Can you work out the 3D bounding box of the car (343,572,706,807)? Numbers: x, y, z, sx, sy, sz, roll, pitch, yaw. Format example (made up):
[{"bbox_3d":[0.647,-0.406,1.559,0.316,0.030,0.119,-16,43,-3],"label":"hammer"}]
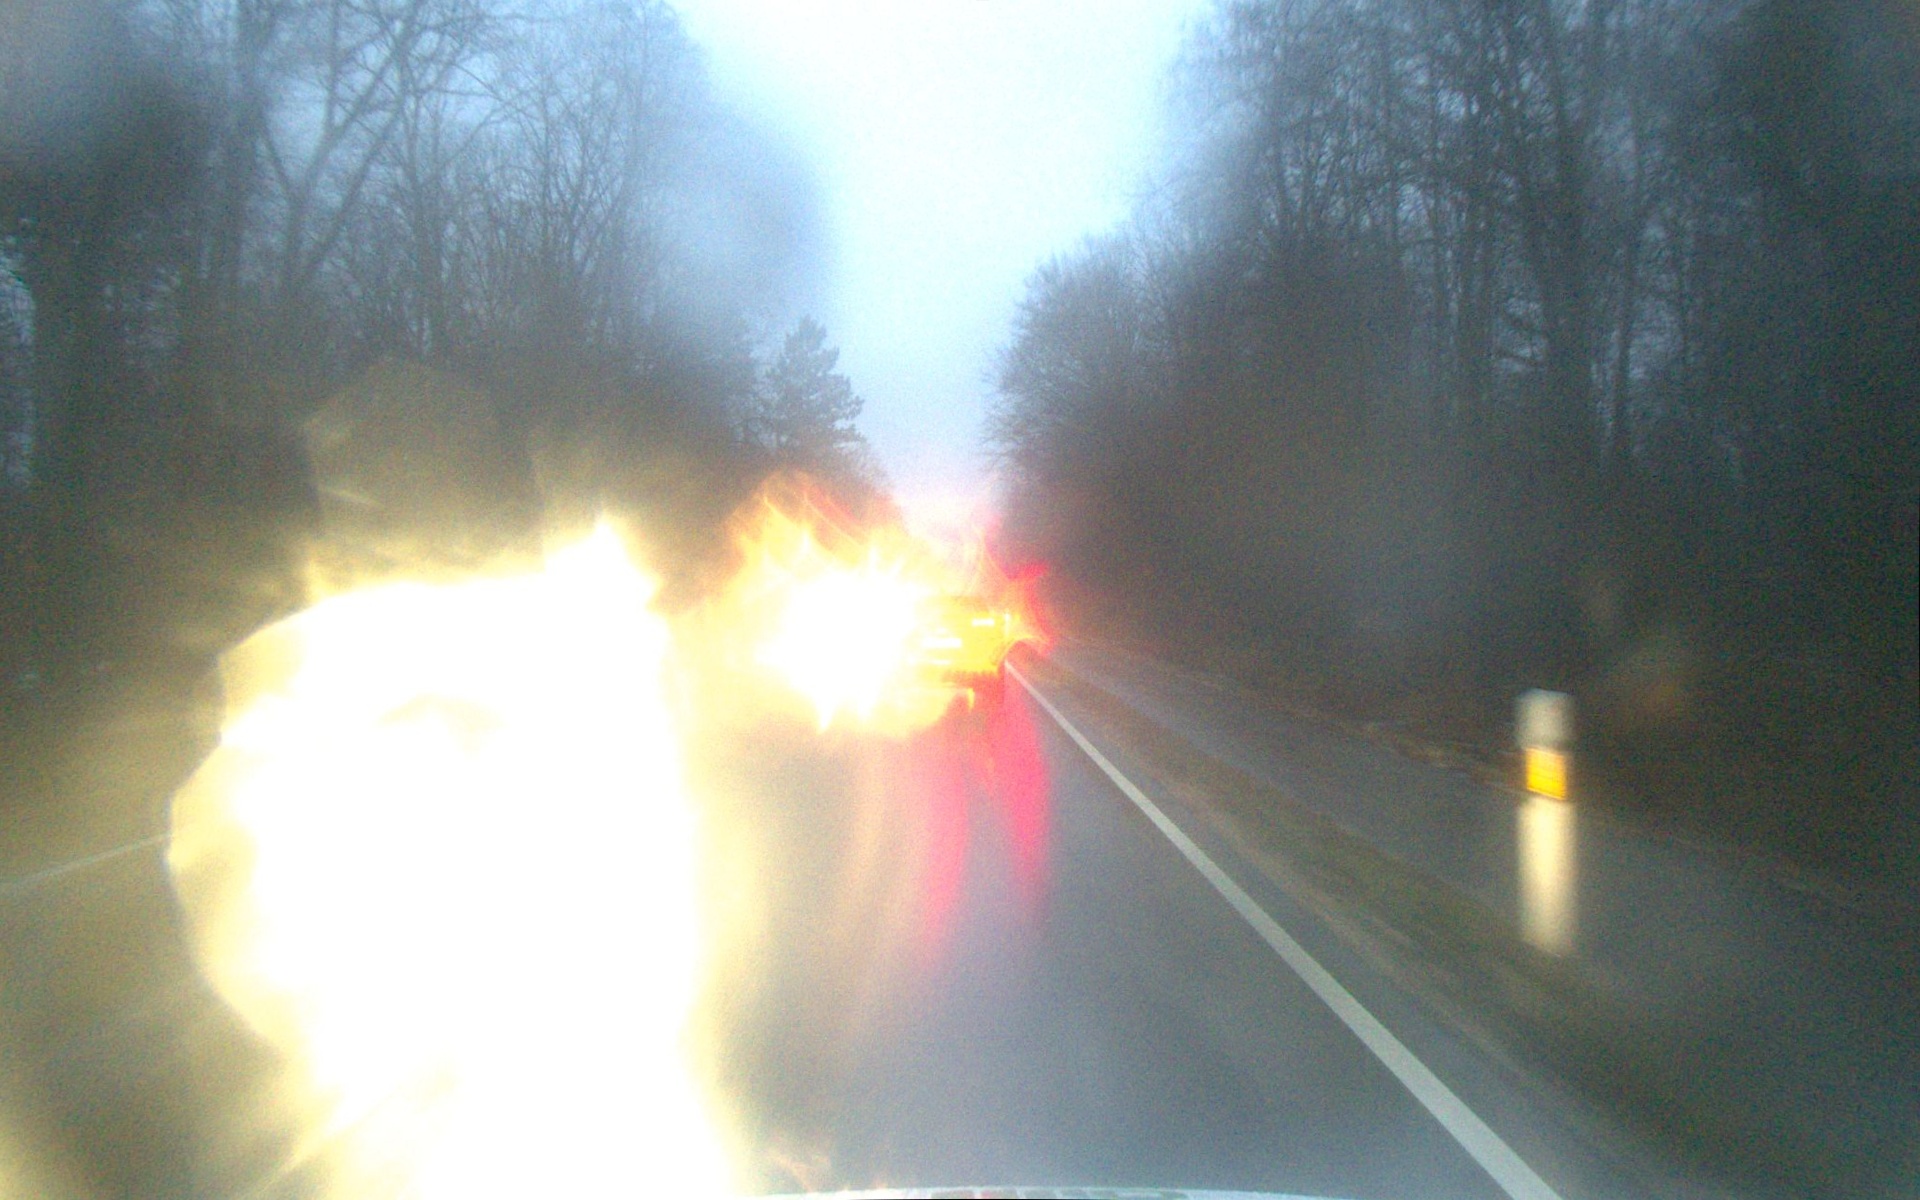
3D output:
[{"bbox_3d":[-3.419,0.640,13.857,2.034,1.644,4.150,-1,0,-2],"label":"car"}]

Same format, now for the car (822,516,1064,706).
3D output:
[{"bbox_3d":[-0.222,0.137,24.934,3.118,2.428,6.636,1,0,0],"label":"car"}]

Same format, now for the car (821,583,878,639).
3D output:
[{"bbox_3d":[-4.286,0.396,64.814,1.966,2.023,5.030,-2,0,-2],"label":"car"}]
